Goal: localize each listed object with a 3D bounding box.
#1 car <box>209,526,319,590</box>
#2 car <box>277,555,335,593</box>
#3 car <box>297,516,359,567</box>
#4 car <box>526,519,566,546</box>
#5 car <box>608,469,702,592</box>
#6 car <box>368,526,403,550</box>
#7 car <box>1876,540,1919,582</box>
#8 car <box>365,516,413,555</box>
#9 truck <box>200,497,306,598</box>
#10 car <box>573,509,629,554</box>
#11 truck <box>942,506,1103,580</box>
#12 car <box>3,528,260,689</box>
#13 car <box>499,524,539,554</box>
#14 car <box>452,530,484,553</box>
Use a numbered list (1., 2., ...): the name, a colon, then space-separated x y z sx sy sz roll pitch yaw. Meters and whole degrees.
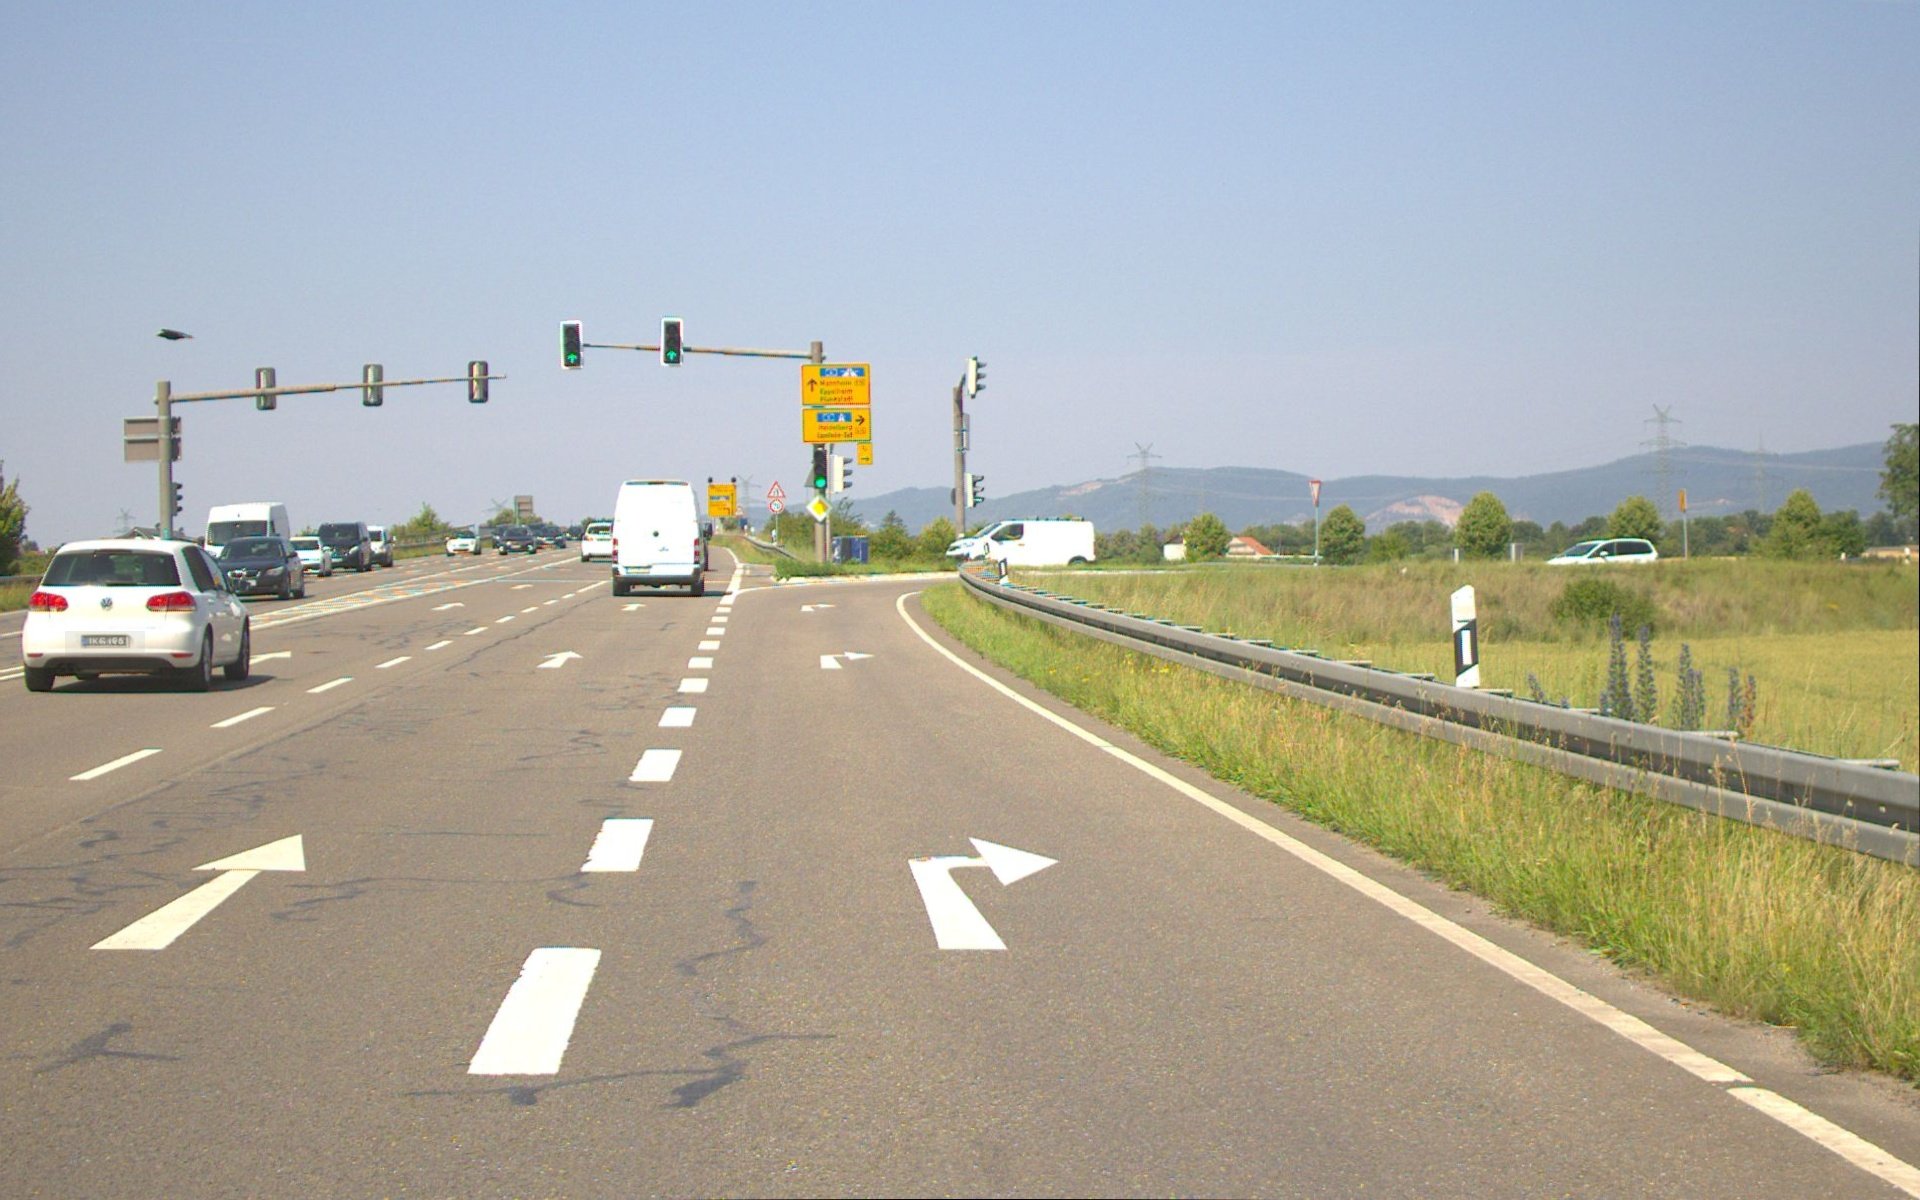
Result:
1. car: -15.896 -0.948 78.666 1.857 1.418 4.000 0 0 -2
2. car: -22.511 -0.881 118.434 1.462 1.269 3.333 0 0 -2
3. car: -24.178 -2.220 131.575 1.873 1.881 3.333 0 0 -2
4. car: -26.183 -4.286 217.526 1.993 1.612 4.000 1 0 0
5. car: -6.863 -1.561 77.678 1.993 2.686 4.970 0 1 -4
6. car: -31.136 -3.361 186.524 1.462 1.269 3.333 0 0 -2
7. car: 34.853 -1.378 123.636 3.472 1.481 1.650 1 0 -27
8. car: -24.196 -2.728 145.823 1.602 1.576 3.333 0 0 -2
9. truck: -21.333 -1.550 103.900 2.297 2.947 5.283 0 0 -2
10. car: -14.304 -2.723 137.107 1.993 1.697 4.275 1 0 -3
11. truck: 2.047 -1.856 112.801 4.842 2.312 2.001 1 0 -18
12. car: -8.199 0.034 34.352 1.799 1.503 4.197 0 1 -4
13. car: -23.615 -3.258 184.164 1.635 1.481 4.000 1 0 0
14. car: -27.729 -3.299 193.907 1.462 1.269 3.333 0 0 -2
